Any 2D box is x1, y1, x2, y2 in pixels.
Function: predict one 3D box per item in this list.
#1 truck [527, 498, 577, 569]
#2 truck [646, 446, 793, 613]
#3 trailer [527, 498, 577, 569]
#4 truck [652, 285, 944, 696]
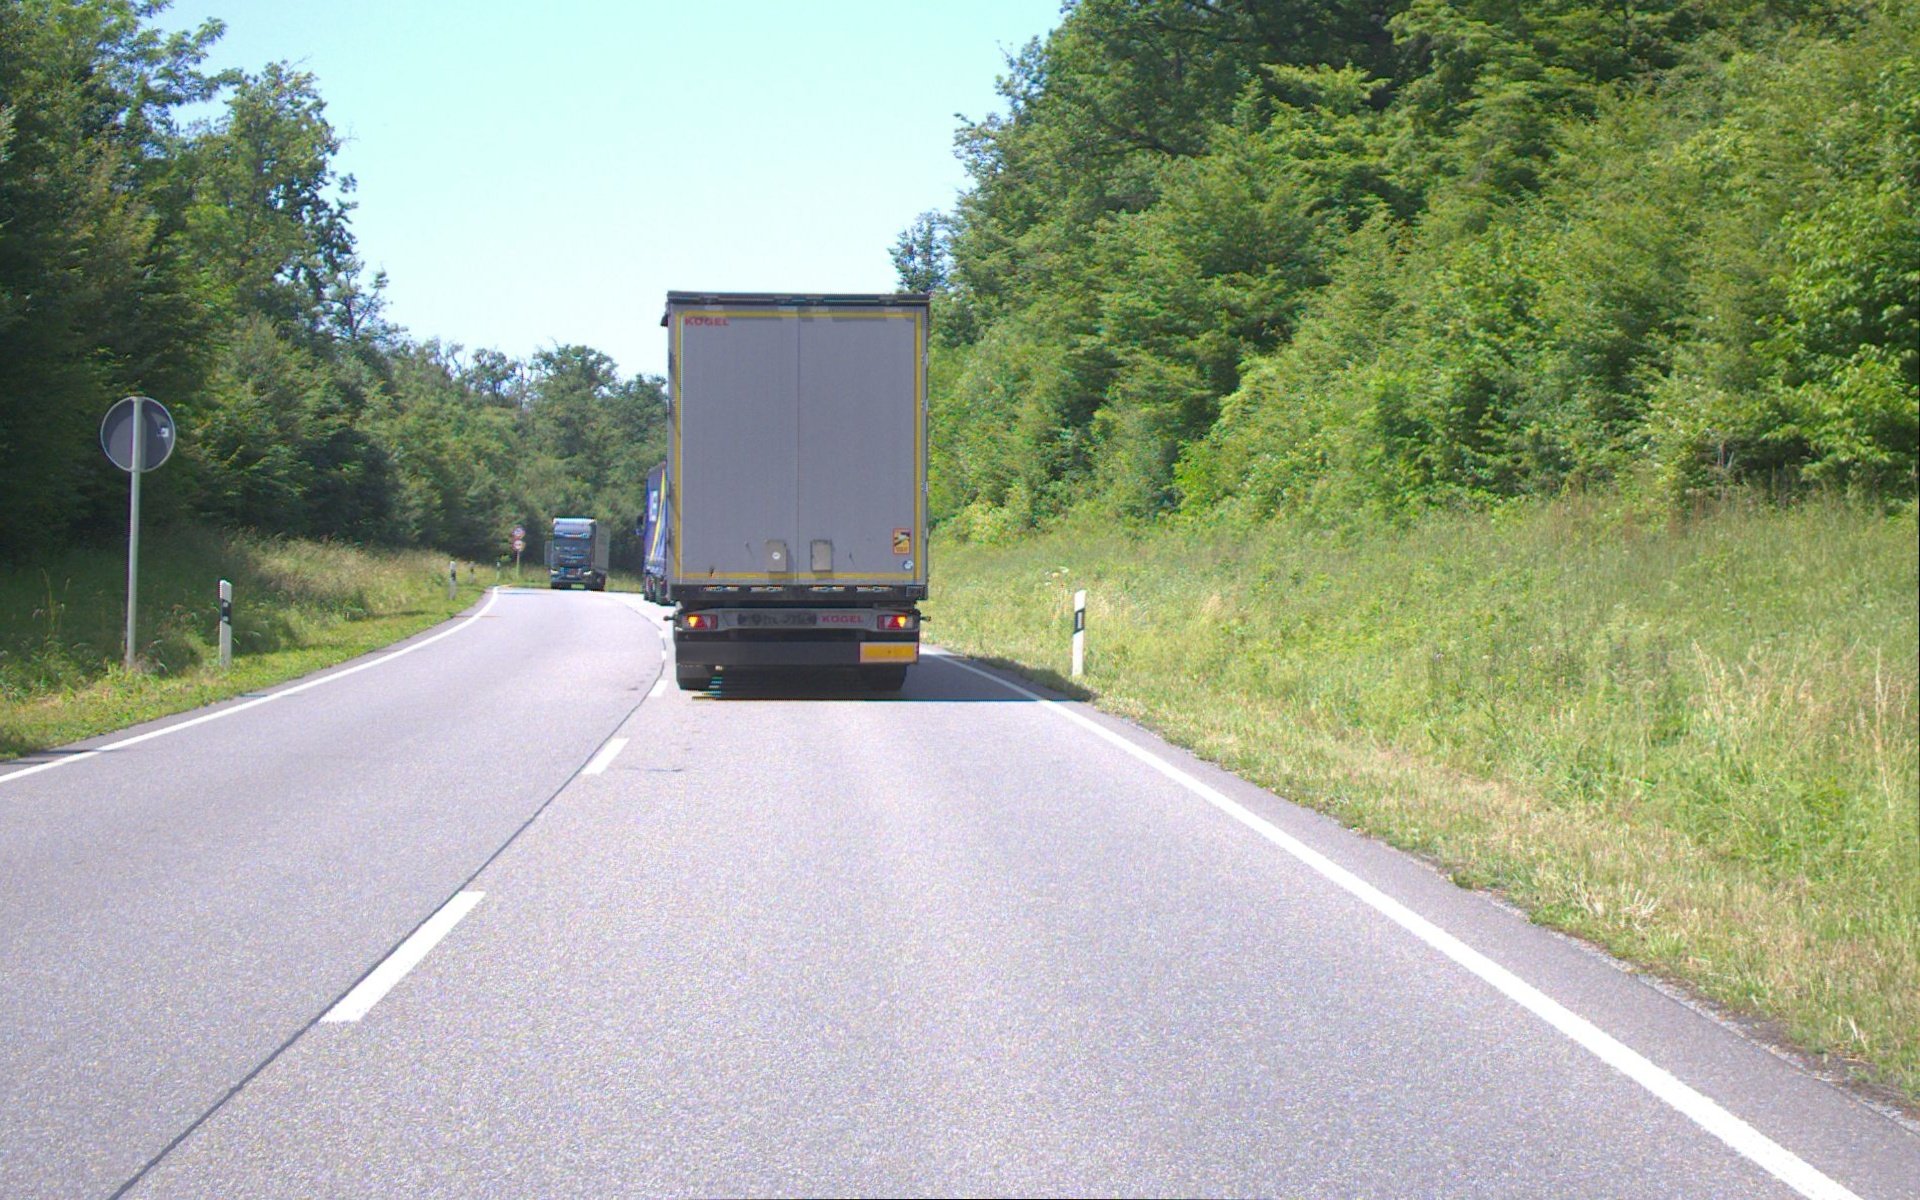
[{"bbox_3d":[-24.672,-4.029,207.892,2.922,4.201,5.344,-1,1,-7],"label":"truck"},{"bbox_3d":[-7.070,-1.962,99.994,3.793,4.358,14.922,2,0,-5],"label":"truck"},{"bbox_3d":[-25.475,-4.151,214.309,2.941,4.238,13.623,-1,1,-7],"label":"trailer"},{"bbox_3d":[-1.962,-1.164,39.447,2.761,3.933,12.199,1,1,-4],"label":"truck"}]
